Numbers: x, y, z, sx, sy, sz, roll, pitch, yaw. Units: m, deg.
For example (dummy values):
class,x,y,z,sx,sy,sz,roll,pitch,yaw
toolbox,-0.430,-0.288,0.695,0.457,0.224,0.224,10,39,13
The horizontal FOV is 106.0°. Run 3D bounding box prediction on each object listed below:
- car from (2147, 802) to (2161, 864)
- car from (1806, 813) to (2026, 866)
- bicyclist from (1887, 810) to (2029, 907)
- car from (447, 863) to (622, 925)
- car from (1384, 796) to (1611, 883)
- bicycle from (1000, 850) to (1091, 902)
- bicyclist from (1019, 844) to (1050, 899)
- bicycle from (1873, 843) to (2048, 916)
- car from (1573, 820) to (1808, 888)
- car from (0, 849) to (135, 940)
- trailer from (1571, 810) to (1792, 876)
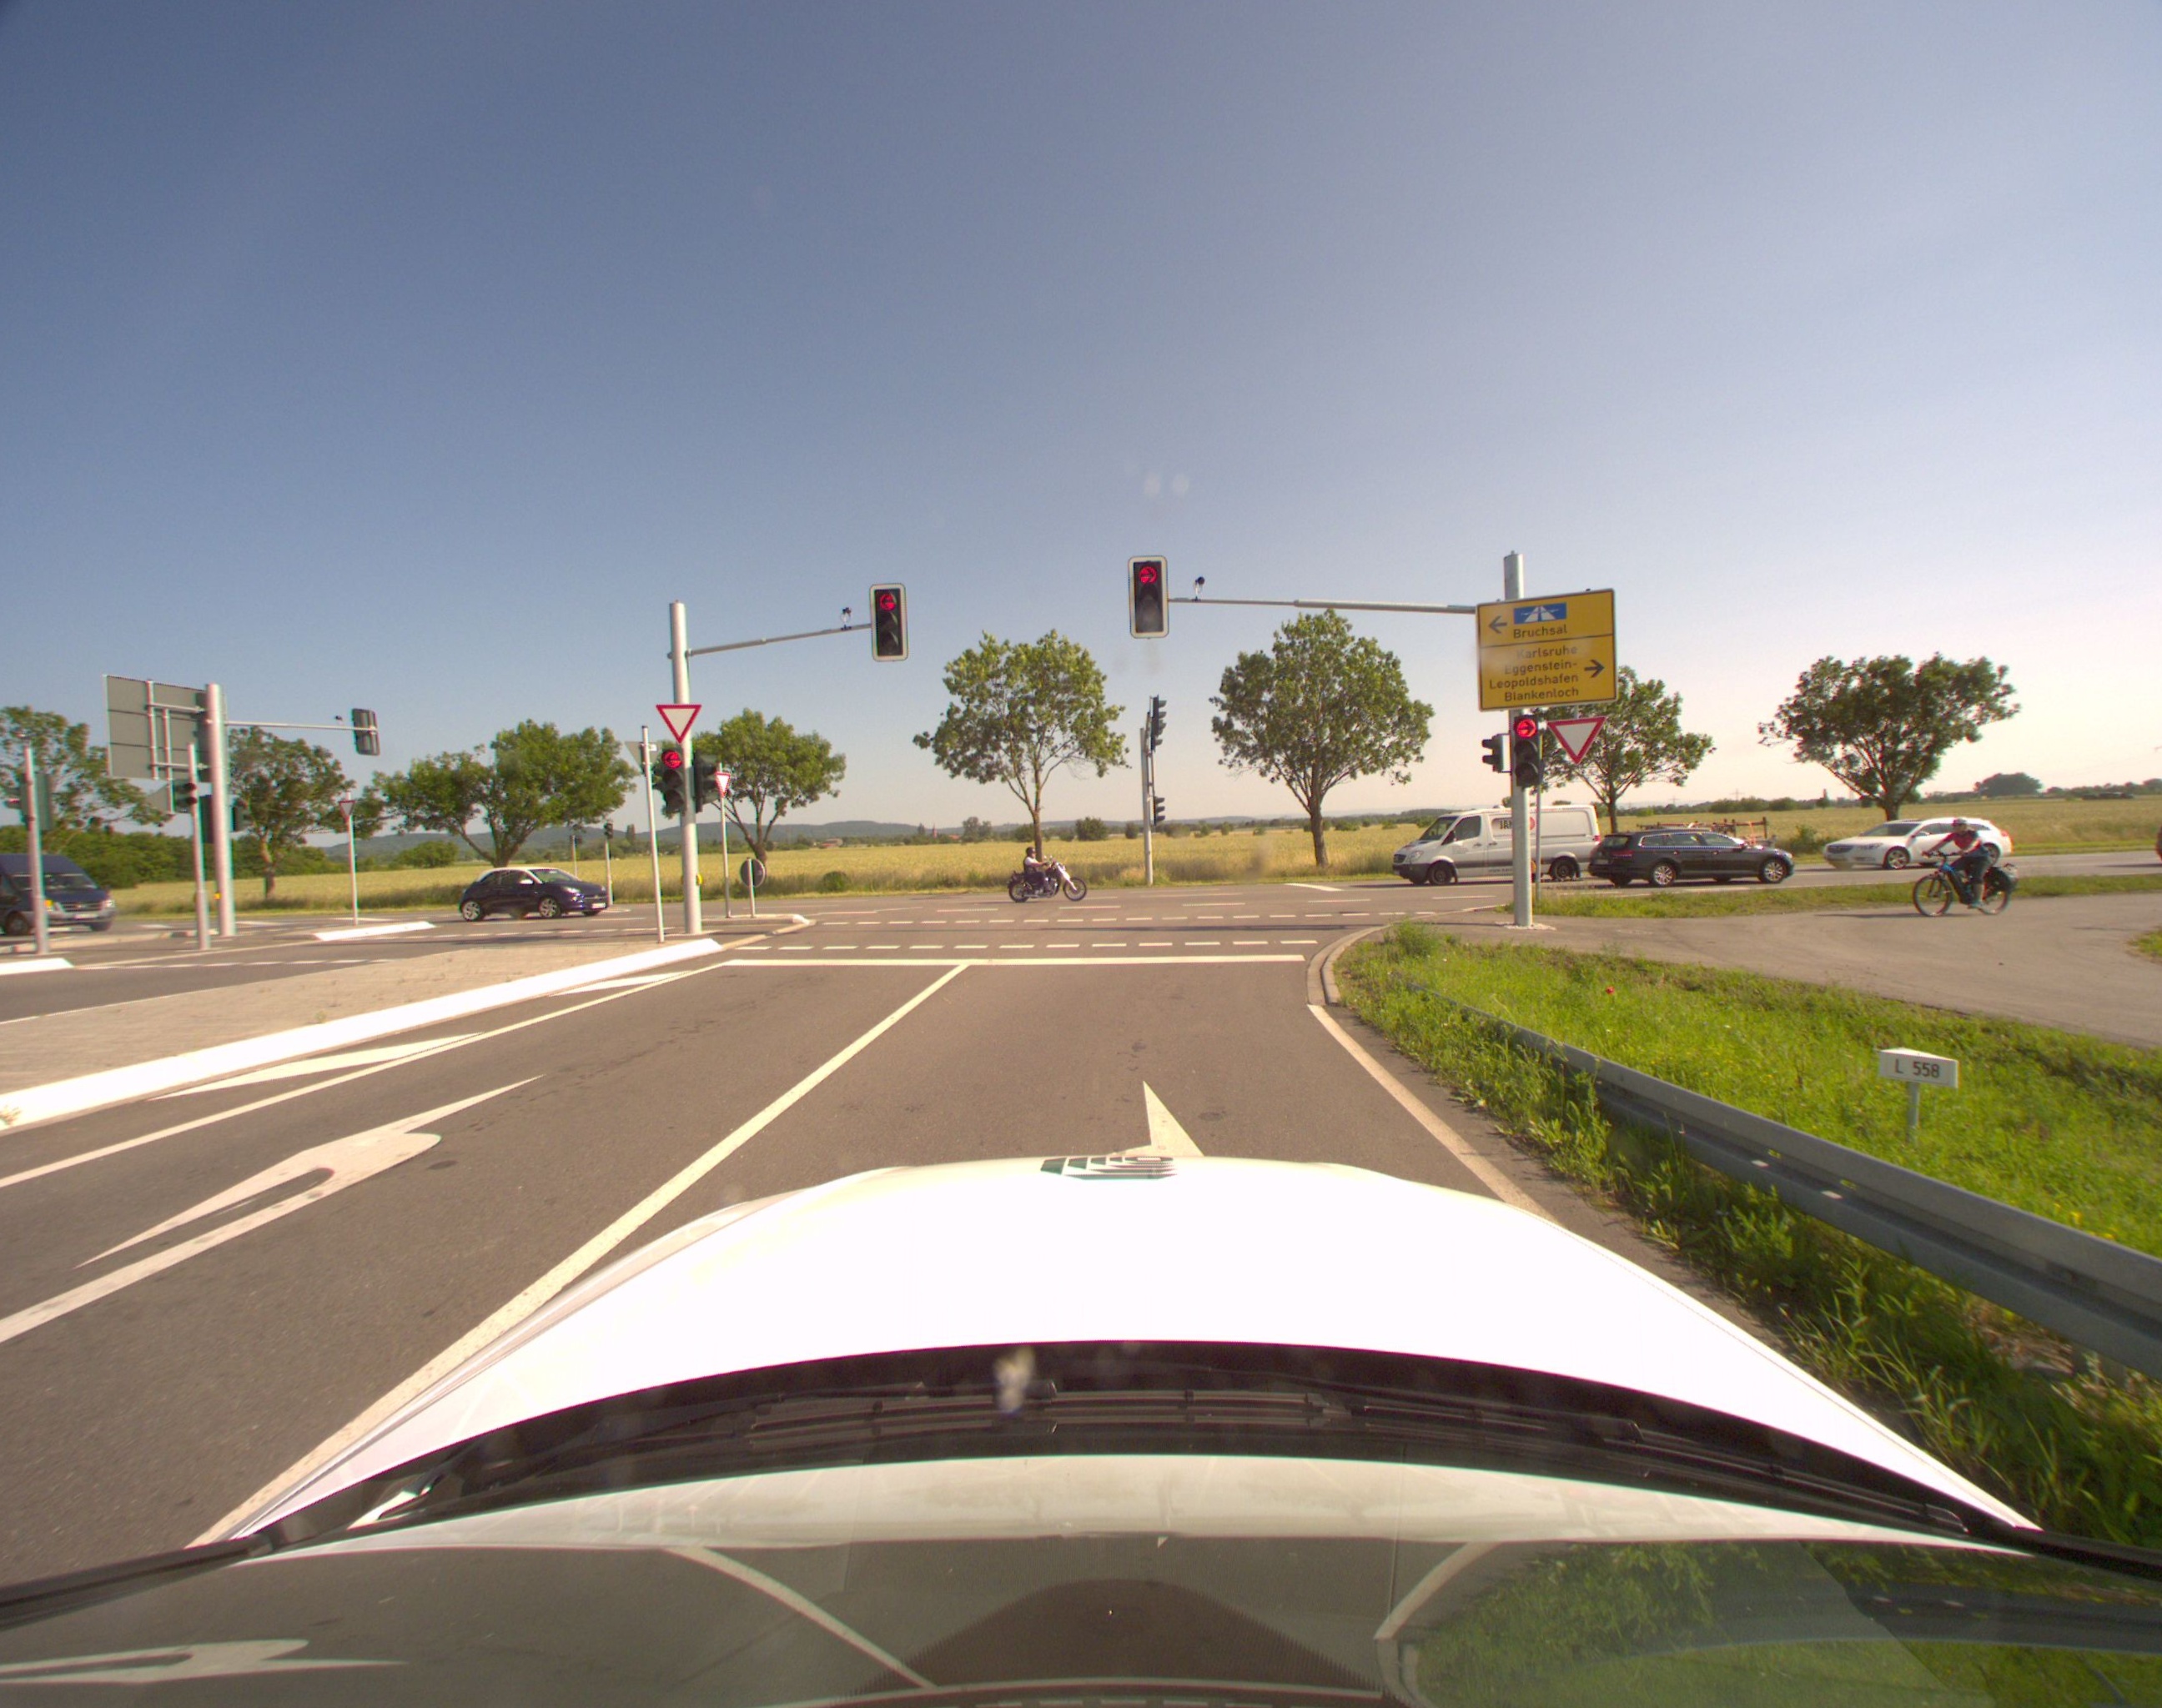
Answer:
class,x,y,z,sx,sy,sz,roll,pitch,yaw
car,31.354,-0.597,21.731,3.950,1.668,1.760,-1,0,-6
car,25.594,-0.436,25.080,4.855,1.510,1.999,-1,0,-2
bicyclist,15.418,0.061,14.355,1.275,1.601,1.165,-2,1,-1
car,-15.113,1.086,22.607,3.707,1.457,1.732,-3,1,7
car,12.634,-0.431,24.983,5.935,2.492,2.001,-1,0,1
bicycle,-0.972,0.596,22.598,2.485,1.397,0.731,-1,0,-3
bicyclist,-1.269,0.478,22.379,0.805,1.489,0.757,-1,0,-1
bicycle,15.449,0.435,14.349,2.150,1.186,0.889,-2,0,-2
car,15.652,-0.015,21.073,4.658,1.519,1.921,-2,1,-1
car,-33.344,1.289,25.451,5.699,2.622,2.038,-2,1,8
trailer,18.228,-0.338,24.902,5.242,1.753,1.954,-2,0,1
